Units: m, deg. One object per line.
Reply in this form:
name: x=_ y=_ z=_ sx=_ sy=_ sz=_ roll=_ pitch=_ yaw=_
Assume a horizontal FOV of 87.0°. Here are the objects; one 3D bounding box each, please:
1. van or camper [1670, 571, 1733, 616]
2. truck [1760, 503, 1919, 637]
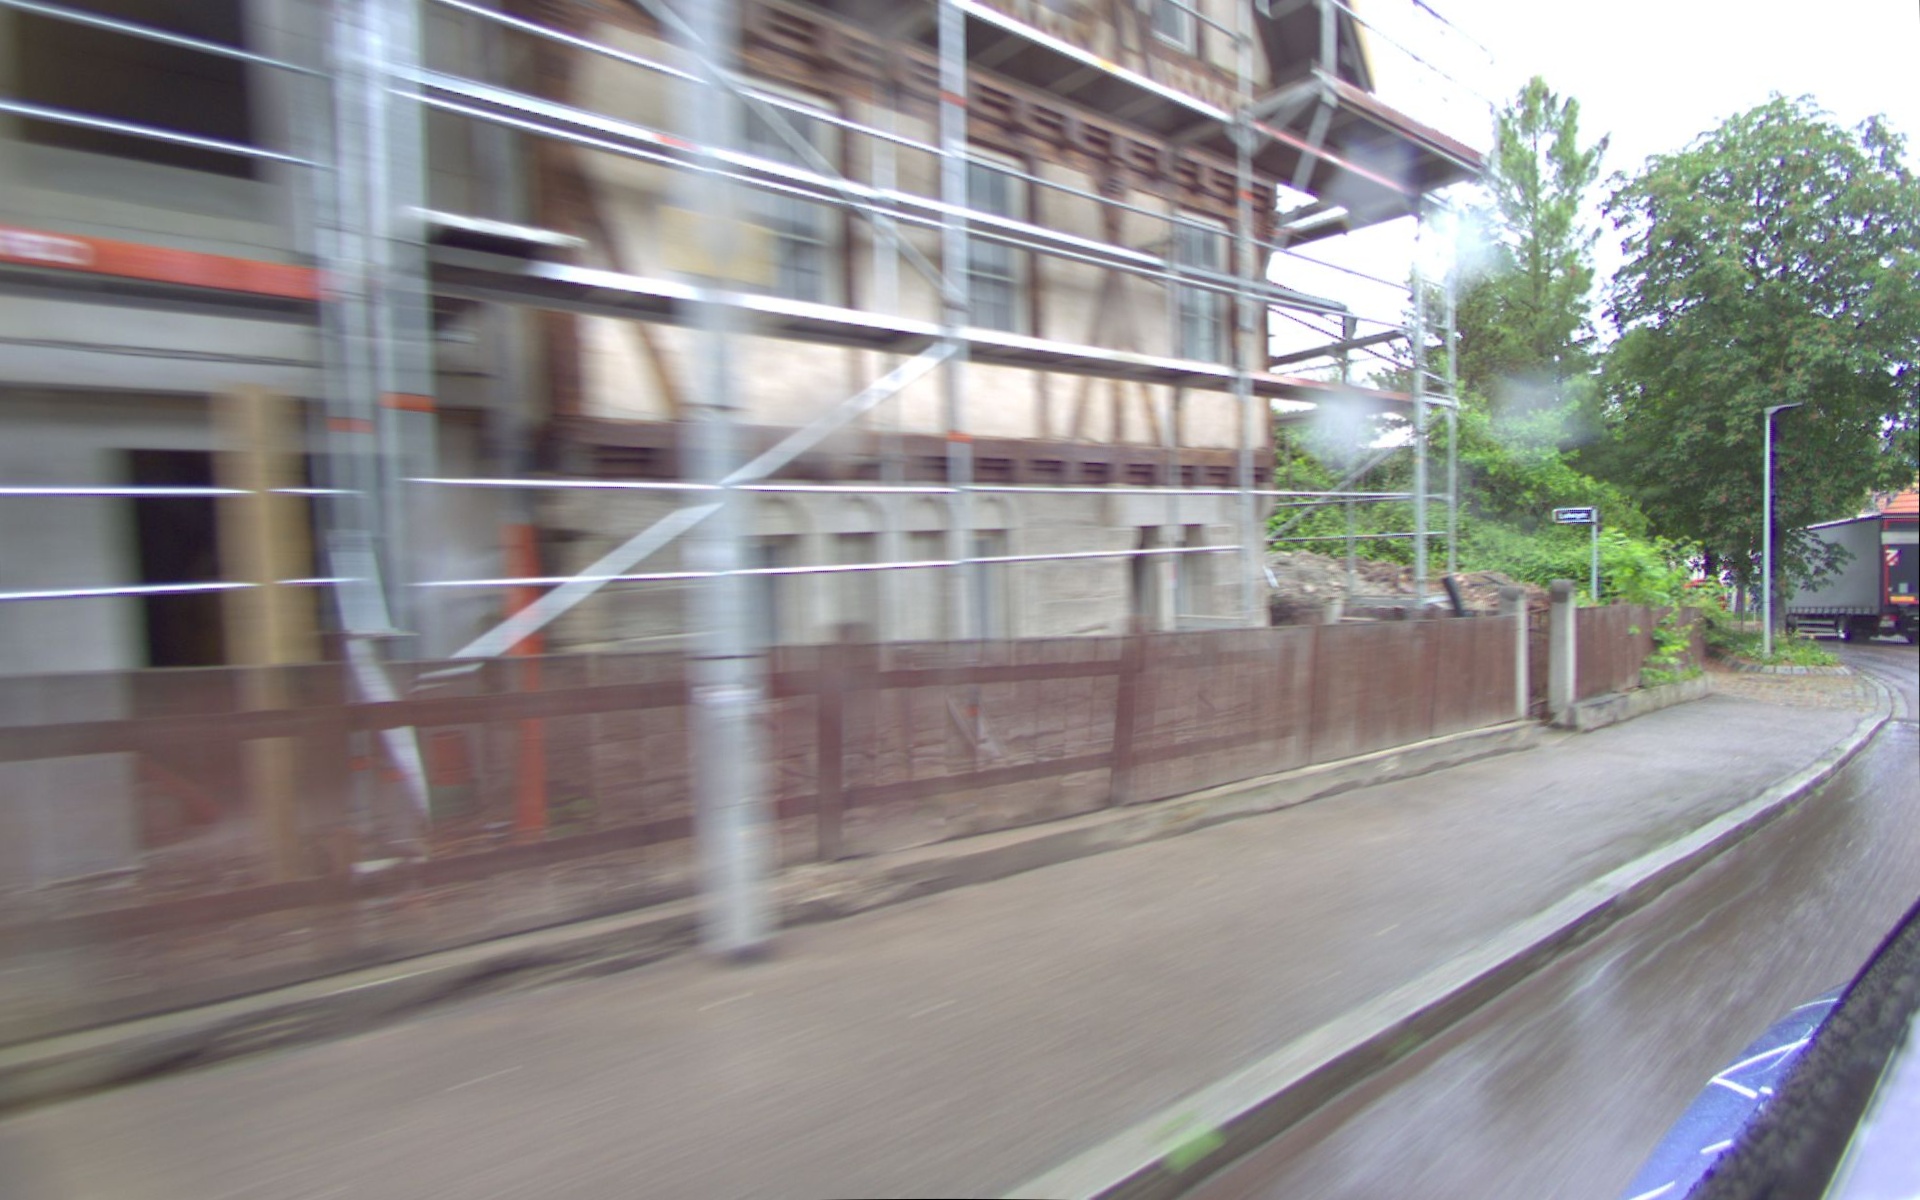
van or camper: x=44.094 y=-0.386 z=60.288 sx=1.978 sy=2.565 sz=4.707 roll=0 pitch=1 yaw=24
truck: x=31.421 y=-0.948 z=34.933 sx=2.822 sy=4.018 sz=10.359 roll=0 pitch=0 yaw=20
